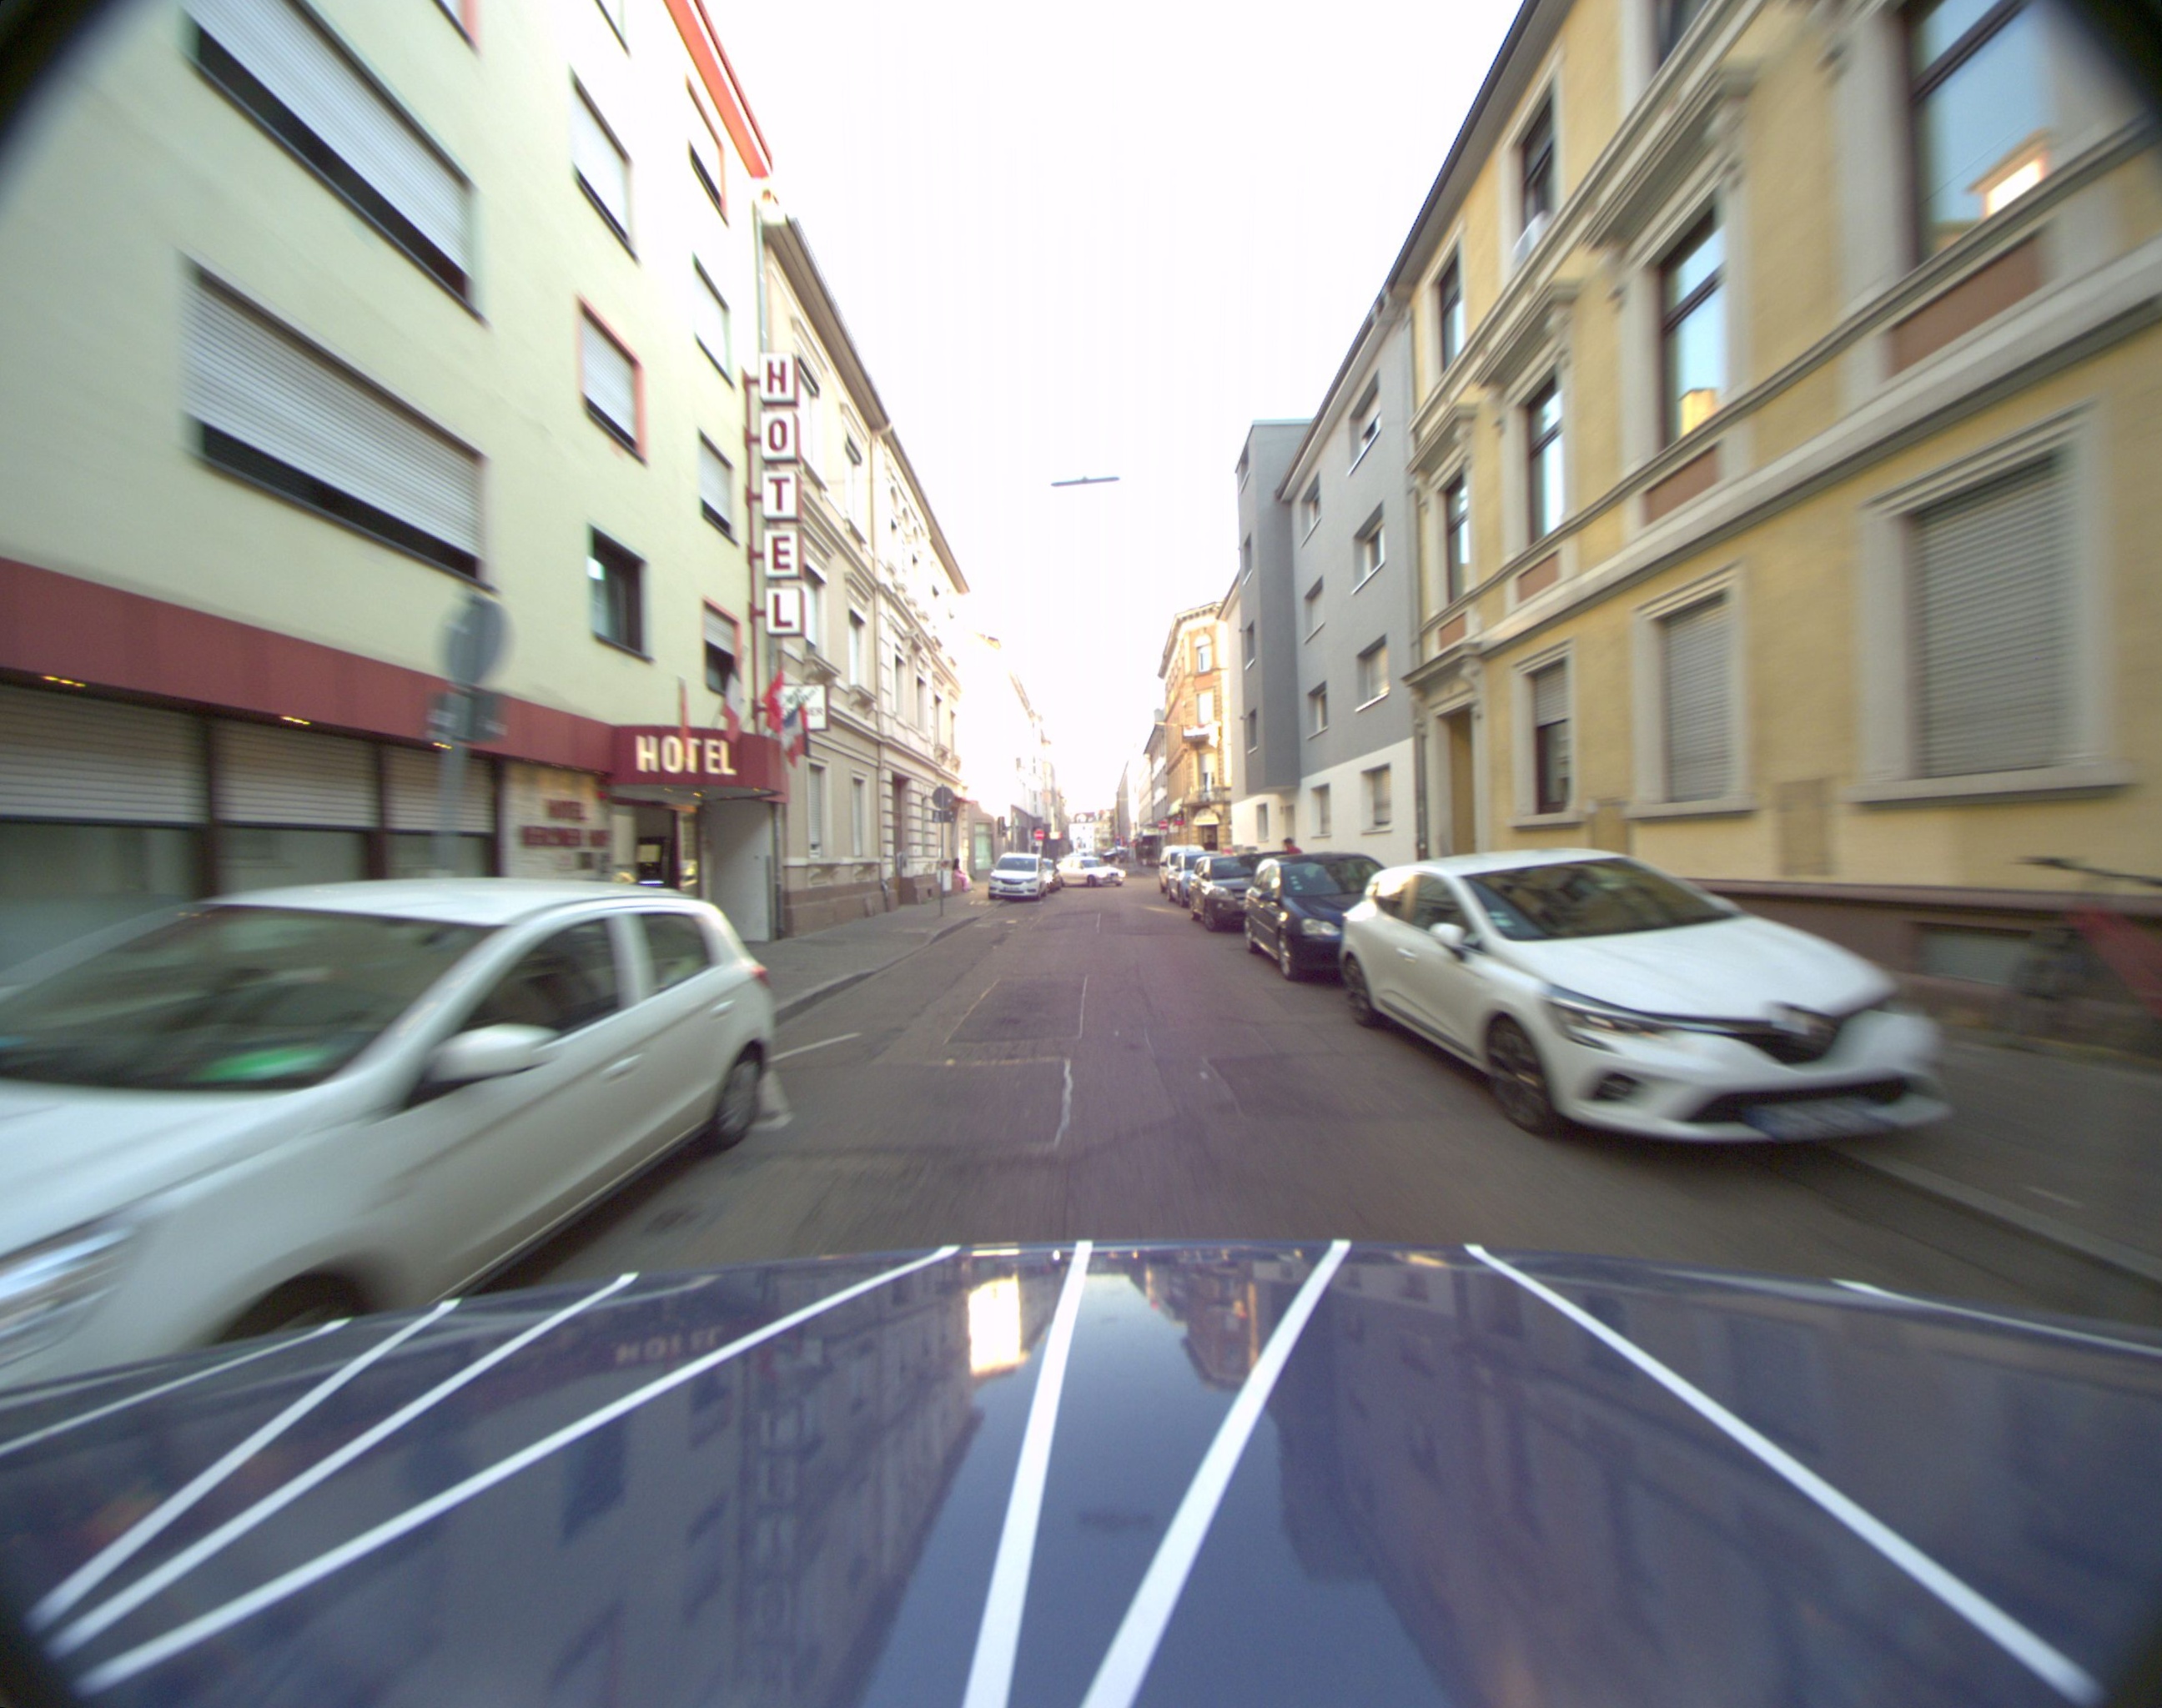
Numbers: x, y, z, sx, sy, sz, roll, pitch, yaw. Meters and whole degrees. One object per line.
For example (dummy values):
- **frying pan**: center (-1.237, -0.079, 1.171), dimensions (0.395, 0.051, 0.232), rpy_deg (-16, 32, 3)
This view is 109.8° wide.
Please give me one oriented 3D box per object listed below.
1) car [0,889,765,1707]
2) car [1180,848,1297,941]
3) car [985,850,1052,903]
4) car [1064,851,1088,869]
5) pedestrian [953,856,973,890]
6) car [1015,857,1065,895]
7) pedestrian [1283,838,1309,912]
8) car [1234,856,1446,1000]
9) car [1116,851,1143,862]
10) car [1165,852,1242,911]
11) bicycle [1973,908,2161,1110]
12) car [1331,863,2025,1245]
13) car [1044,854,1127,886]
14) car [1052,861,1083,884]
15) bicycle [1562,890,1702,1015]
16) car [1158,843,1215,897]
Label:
- **car**: center (-2.718, 1.019, 2.684), dimensions (1.574, 1.569, 3.590), rpy_deg (-2, 0, 1)
- **car**: center (3.207, 0.758, 16.191), dimensions (1.642, 1.701, 3.783), rpy_deg (-2, 0, -1)
- **car**: center (-2.204, 0.763, 28.121), dimensions (1.841, 1.685, 4.359), rpy_deg (3, 0, 3)
- **car**: center (-0.377, 0.470, 61.011), dimensions (1.729, 1.391, 3.893), rpy_deg (-2, 0, 3)
- **pedestrian**: center (-4.999, 0.812, 32.156), dimensions (0.696, 1.415, 0.484), rpy_deg (-2, 1, 3)
- **car**: center (-1.747, 0.912, 33.284), dimensions (1.729, 1.469, 3.976), rpy_deg (-2, 0, 3)
- **pedestrian**: center (5.135, 0.503, 18.182), dimensions (0.456, 1.745, 0.455), rpy_deg (-2, 1, 0)
- **car**: center (3.169, 0.803, 10.112), dimensions (1.642, 1.480, 3.955), rpy_deg (-2, 0, 3)
- **car**: center (7.403, 0.368, 116.347), dimensions (3.881, 1.568, 1.734), rpy_deg (-2, 0, 44)
- **car**: center (3.562, 0.755, 22.697), dimensions (1.642, 1.571, 3.783), rpy_deg (-2, 0, -1)
- **bicycle**: center (5.848, 0.849, 4.066), dimensions (0.292, 1.003, 1.543), rpy_deg (-2, 0, -2)
- **car**: center (3.074, 0.852, 5.017), dimensions (1.642, 1.480, 3.789), rpy_deg (-2, 0, 1)
- **car**: center (0.147, 0.797, 36.772), dimensions (1.685, 1.395, 4.460), rpy_deg (-3, 0, -34)
- **car**: center (-0.855, 1.192, 50.219), dimensions (1.729, 1.391, 3.893), rpy_deg (-2, 0, 3)
- **bicycle**: center (5.710, 0.972, 7.970), dimensions (0.382, 1.108, 1.544), rpy_deg (-2, 0, 3)
- **car**: center (3.804, 0.556, 27.841), dimensions (1.642, 1.786, 3.783), rpy_deg (-2, 0, 2)
